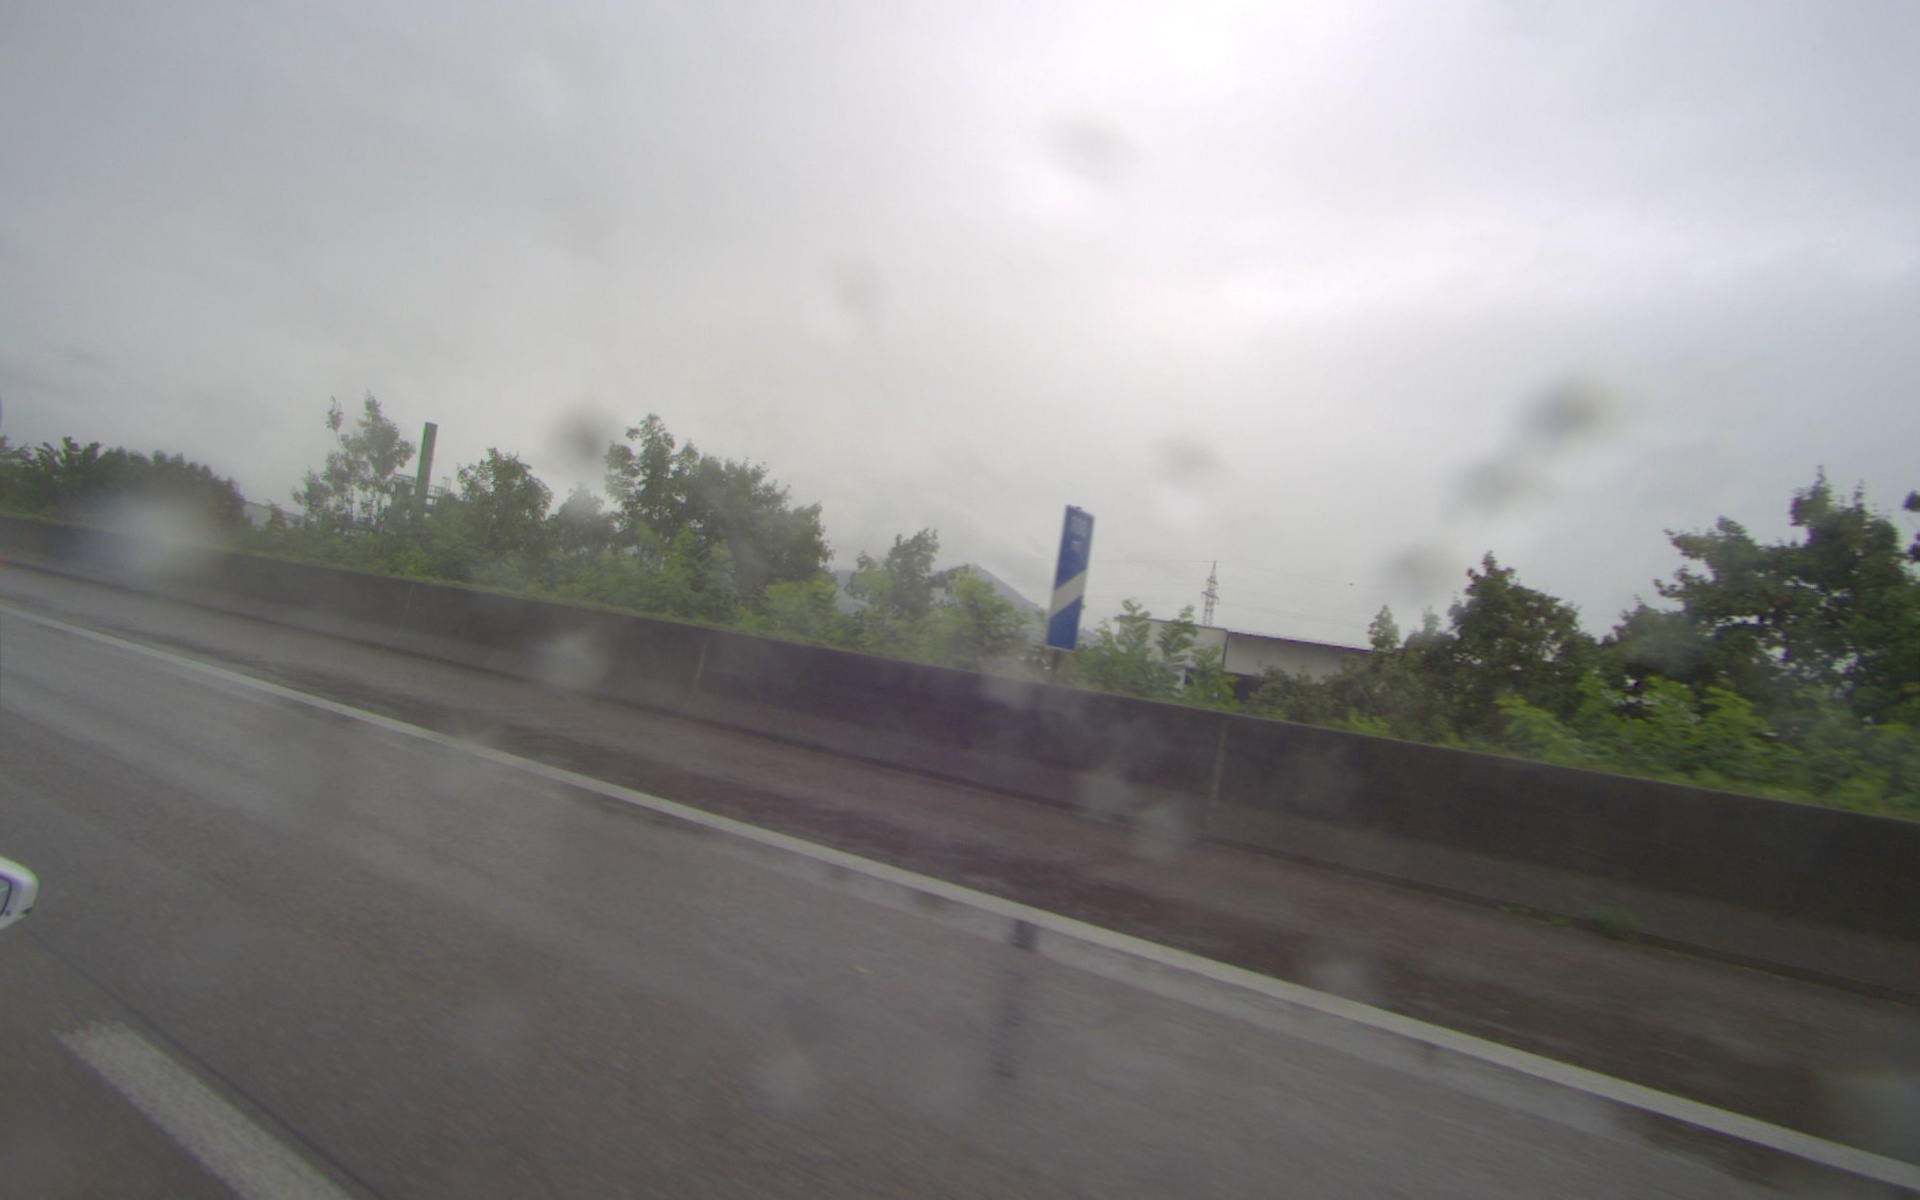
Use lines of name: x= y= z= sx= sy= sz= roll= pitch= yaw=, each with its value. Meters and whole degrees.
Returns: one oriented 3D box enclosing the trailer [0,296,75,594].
trailer: x=-17.575 y=-2.651 z=15.059 sx=11.476 sy=3.712 sz=3.194 roll=7 pitch=-2 yaw=33
